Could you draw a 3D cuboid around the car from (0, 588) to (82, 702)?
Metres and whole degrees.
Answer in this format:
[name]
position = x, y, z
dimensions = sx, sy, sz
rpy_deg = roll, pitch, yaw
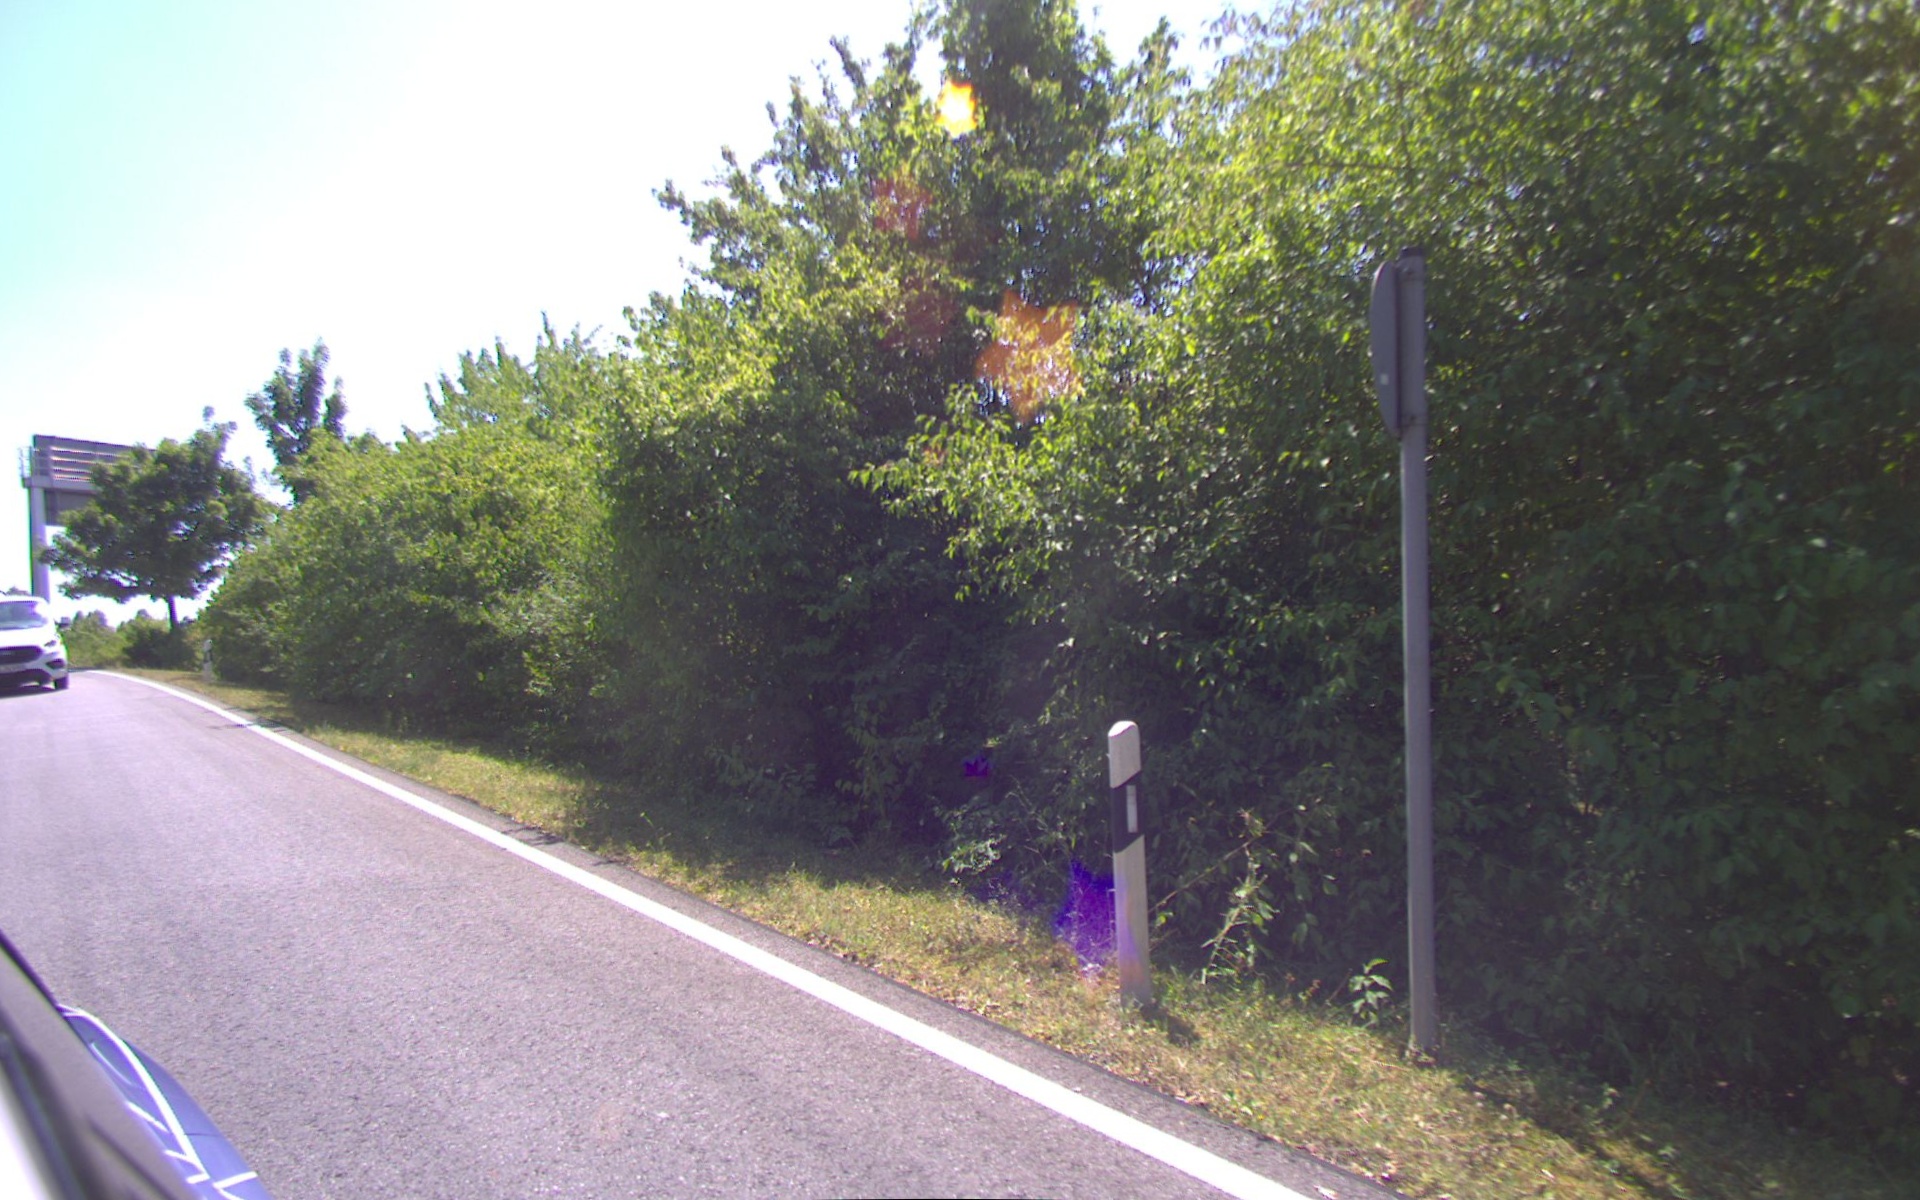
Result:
[car]
position = -20.198, 0.956, 21.175
dimensions = 5.871, 2.100, 2.004
rpy_deg = -2, 1, 42
